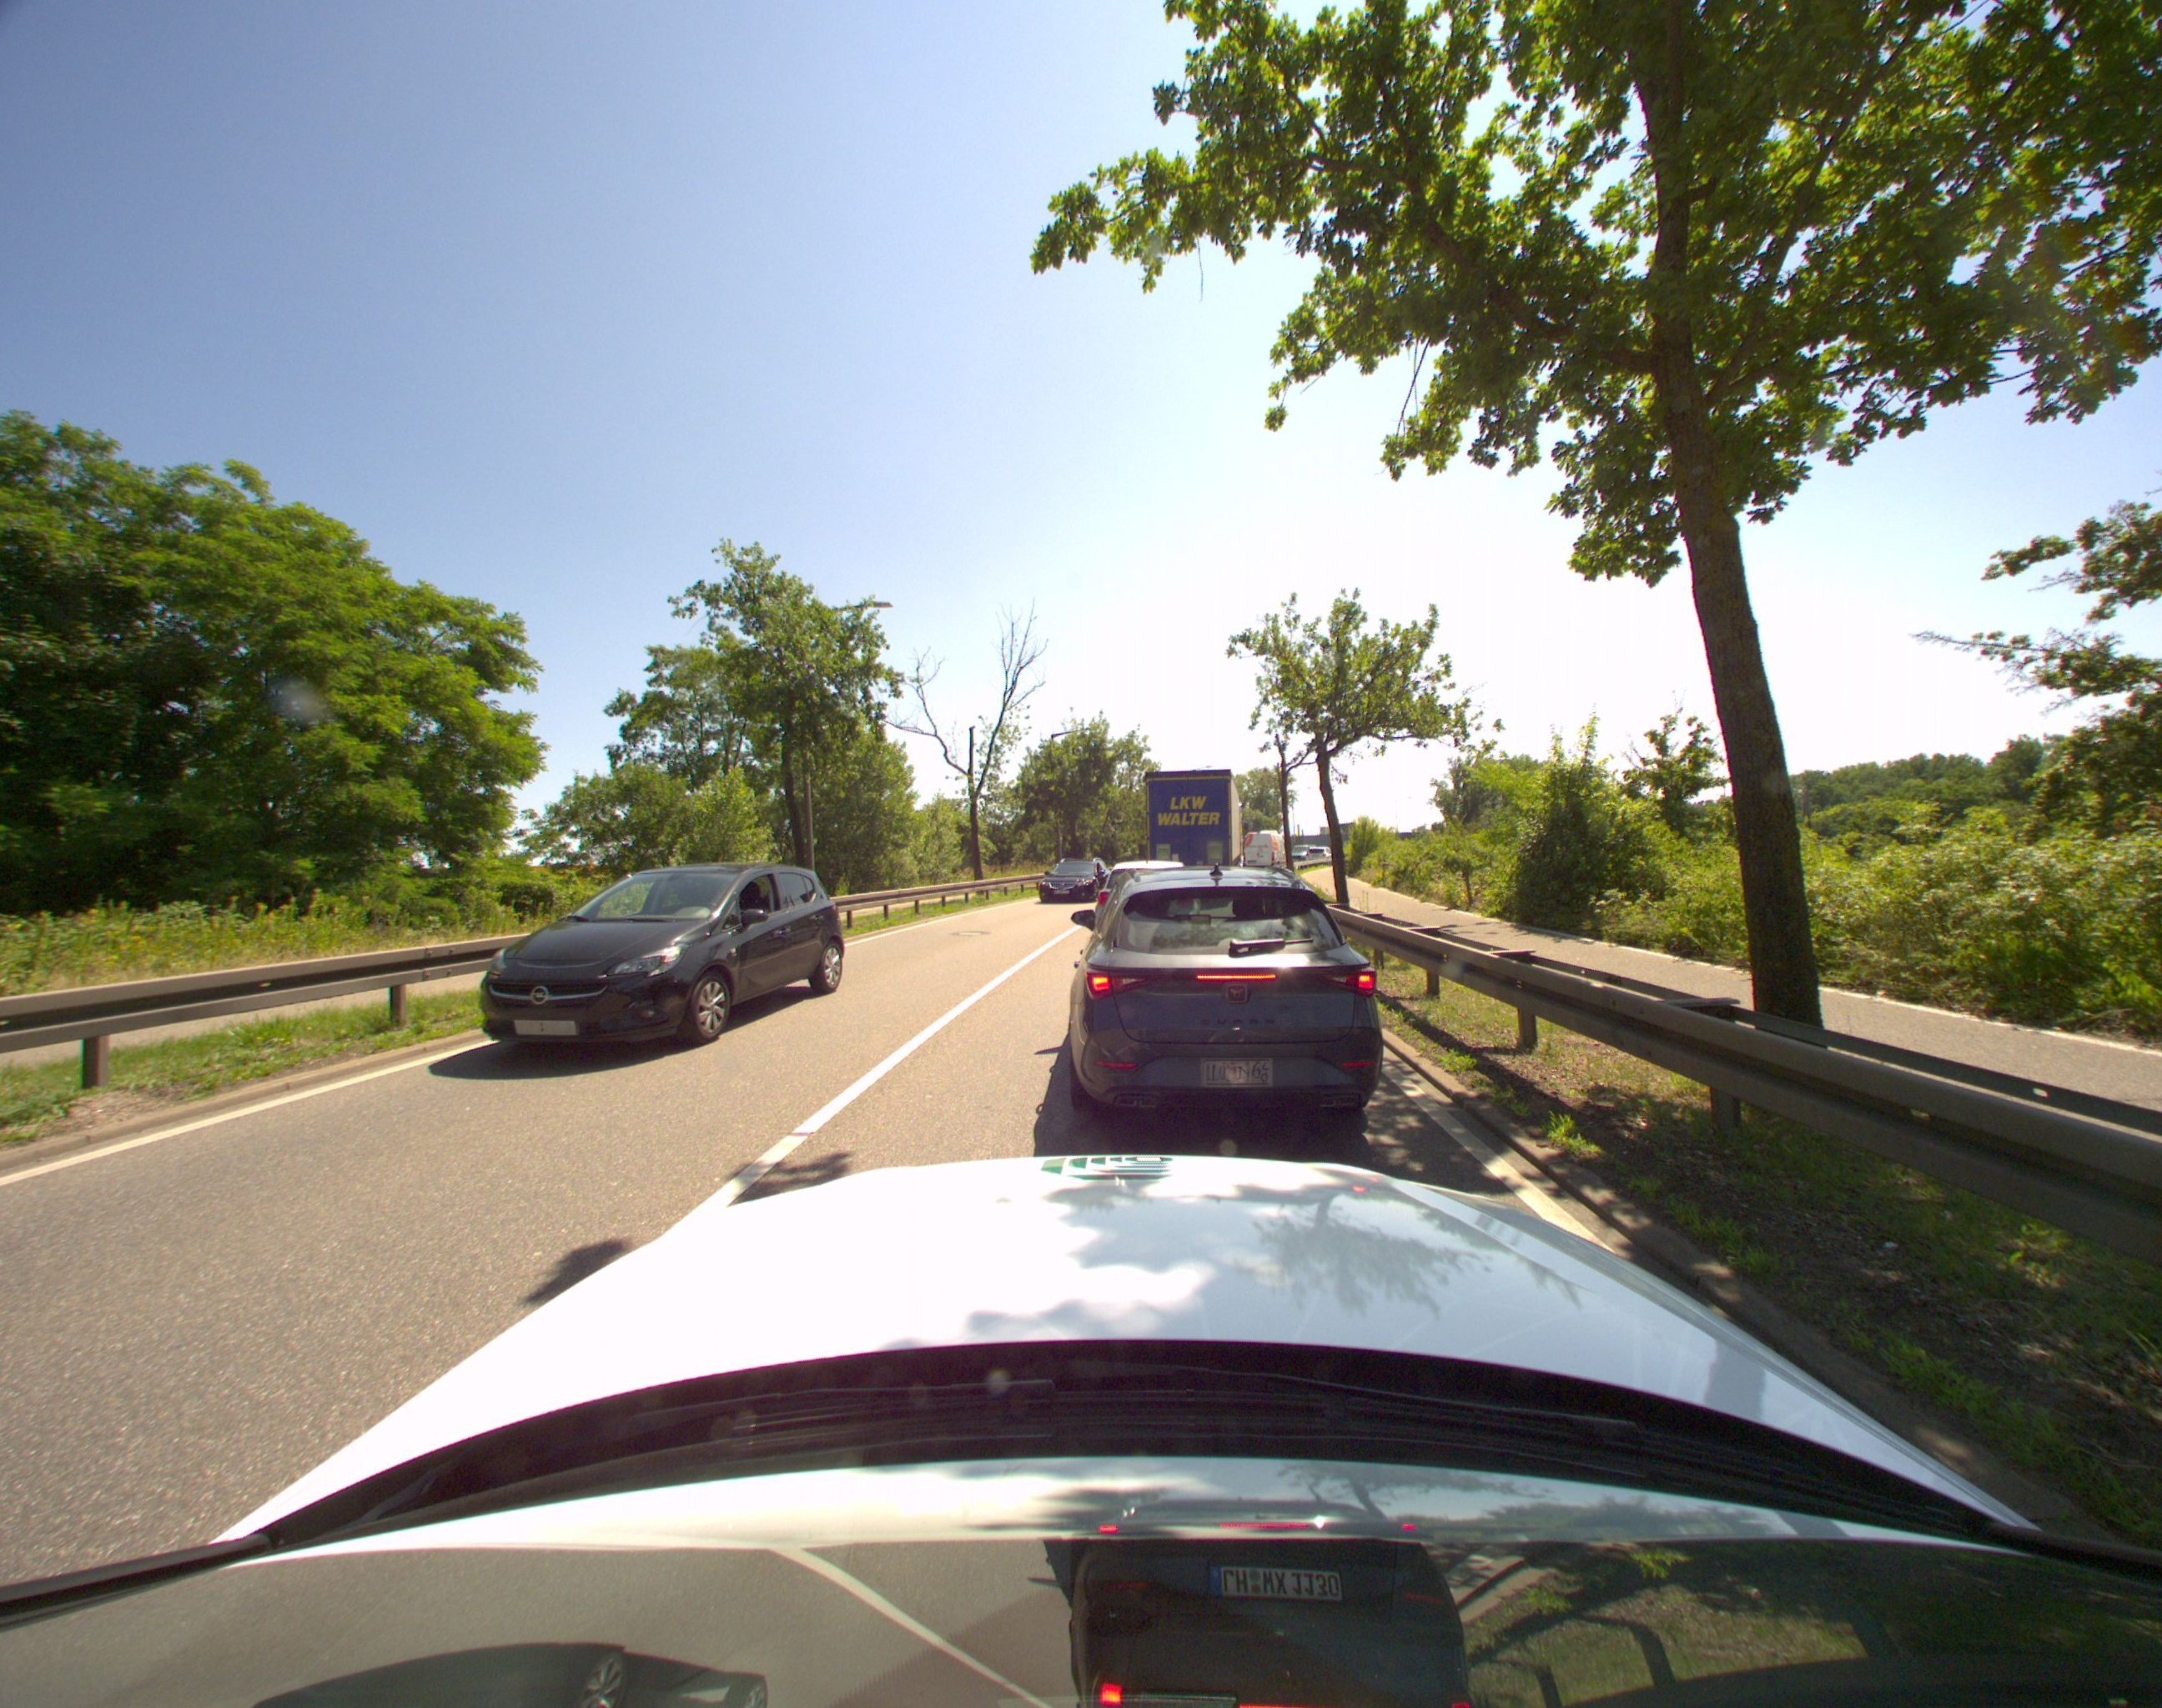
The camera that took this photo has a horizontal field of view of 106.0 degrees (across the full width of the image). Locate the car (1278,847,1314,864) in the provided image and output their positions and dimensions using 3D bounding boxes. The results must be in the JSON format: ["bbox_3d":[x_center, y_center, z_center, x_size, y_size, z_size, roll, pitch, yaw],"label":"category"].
[{"bbox_3d":[21.323,0.141,80.696,2.109,1.681,4.910,-1,0,31],"label":"car"}]

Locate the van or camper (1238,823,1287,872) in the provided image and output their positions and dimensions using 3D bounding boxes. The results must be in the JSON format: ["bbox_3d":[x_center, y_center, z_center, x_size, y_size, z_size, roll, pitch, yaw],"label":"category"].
[{"bbox_3d":[12.041,-0.387,53.733,2.446,2.998,6.116,-1,0,19],"label":"van or camper"}]

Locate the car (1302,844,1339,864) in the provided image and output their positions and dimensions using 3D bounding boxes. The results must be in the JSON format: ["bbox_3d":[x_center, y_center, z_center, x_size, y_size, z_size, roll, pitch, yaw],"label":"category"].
[{"bbox_3d":[20.558,0.002,69.781,1.974,1.712,4.648,-1,0,29],"label":"car"}]

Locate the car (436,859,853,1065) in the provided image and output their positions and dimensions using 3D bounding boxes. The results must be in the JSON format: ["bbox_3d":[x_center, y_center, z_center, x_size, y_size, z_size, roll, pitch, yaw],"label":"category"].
[{"bbox_3d":[-3.740,0.796,7.845,1.663,1.466,3.826,-1,0,6],"label":"car"}]

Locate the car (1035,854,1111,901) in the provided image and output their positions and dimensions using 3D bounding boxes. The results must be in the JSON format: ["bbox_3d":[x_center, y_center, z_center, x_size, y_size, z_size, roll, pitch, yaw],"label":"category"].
[{"bbox_3d":[-0.176,0.749,27.780,1.849,1.421,4.268,-1,0,9],"label":"car"}]

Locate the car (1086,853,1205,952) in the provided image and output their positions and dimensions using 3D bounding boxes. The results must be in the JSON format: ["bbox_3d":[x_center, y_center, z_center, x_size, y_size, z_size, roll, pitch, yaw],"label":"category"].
[{"bbox_3d":[1.102,0.750,14.460,1.802,1.508,4.003,-1,0,3],"label":"car"}]

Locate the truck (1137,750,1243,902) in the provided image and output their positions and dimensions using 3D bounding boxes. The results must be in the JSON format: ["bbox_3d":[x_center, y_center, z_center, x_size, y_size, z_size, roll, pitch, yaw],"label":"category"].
[{"bbox_3d":[4.857,-0.788,32.357,2.930,4.449,16.852,-1,0,12],"label":"truck"}]

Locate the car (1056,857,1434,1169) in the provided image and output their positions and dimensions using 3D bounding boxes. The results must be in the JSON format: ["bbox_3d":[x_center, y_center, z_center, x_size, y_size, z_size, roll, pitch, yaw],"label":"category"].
[{"bbox_3d":[0.835,0.749,5.723,1.737,1.432,3.882,-1,0,2],"label":"car"}]
